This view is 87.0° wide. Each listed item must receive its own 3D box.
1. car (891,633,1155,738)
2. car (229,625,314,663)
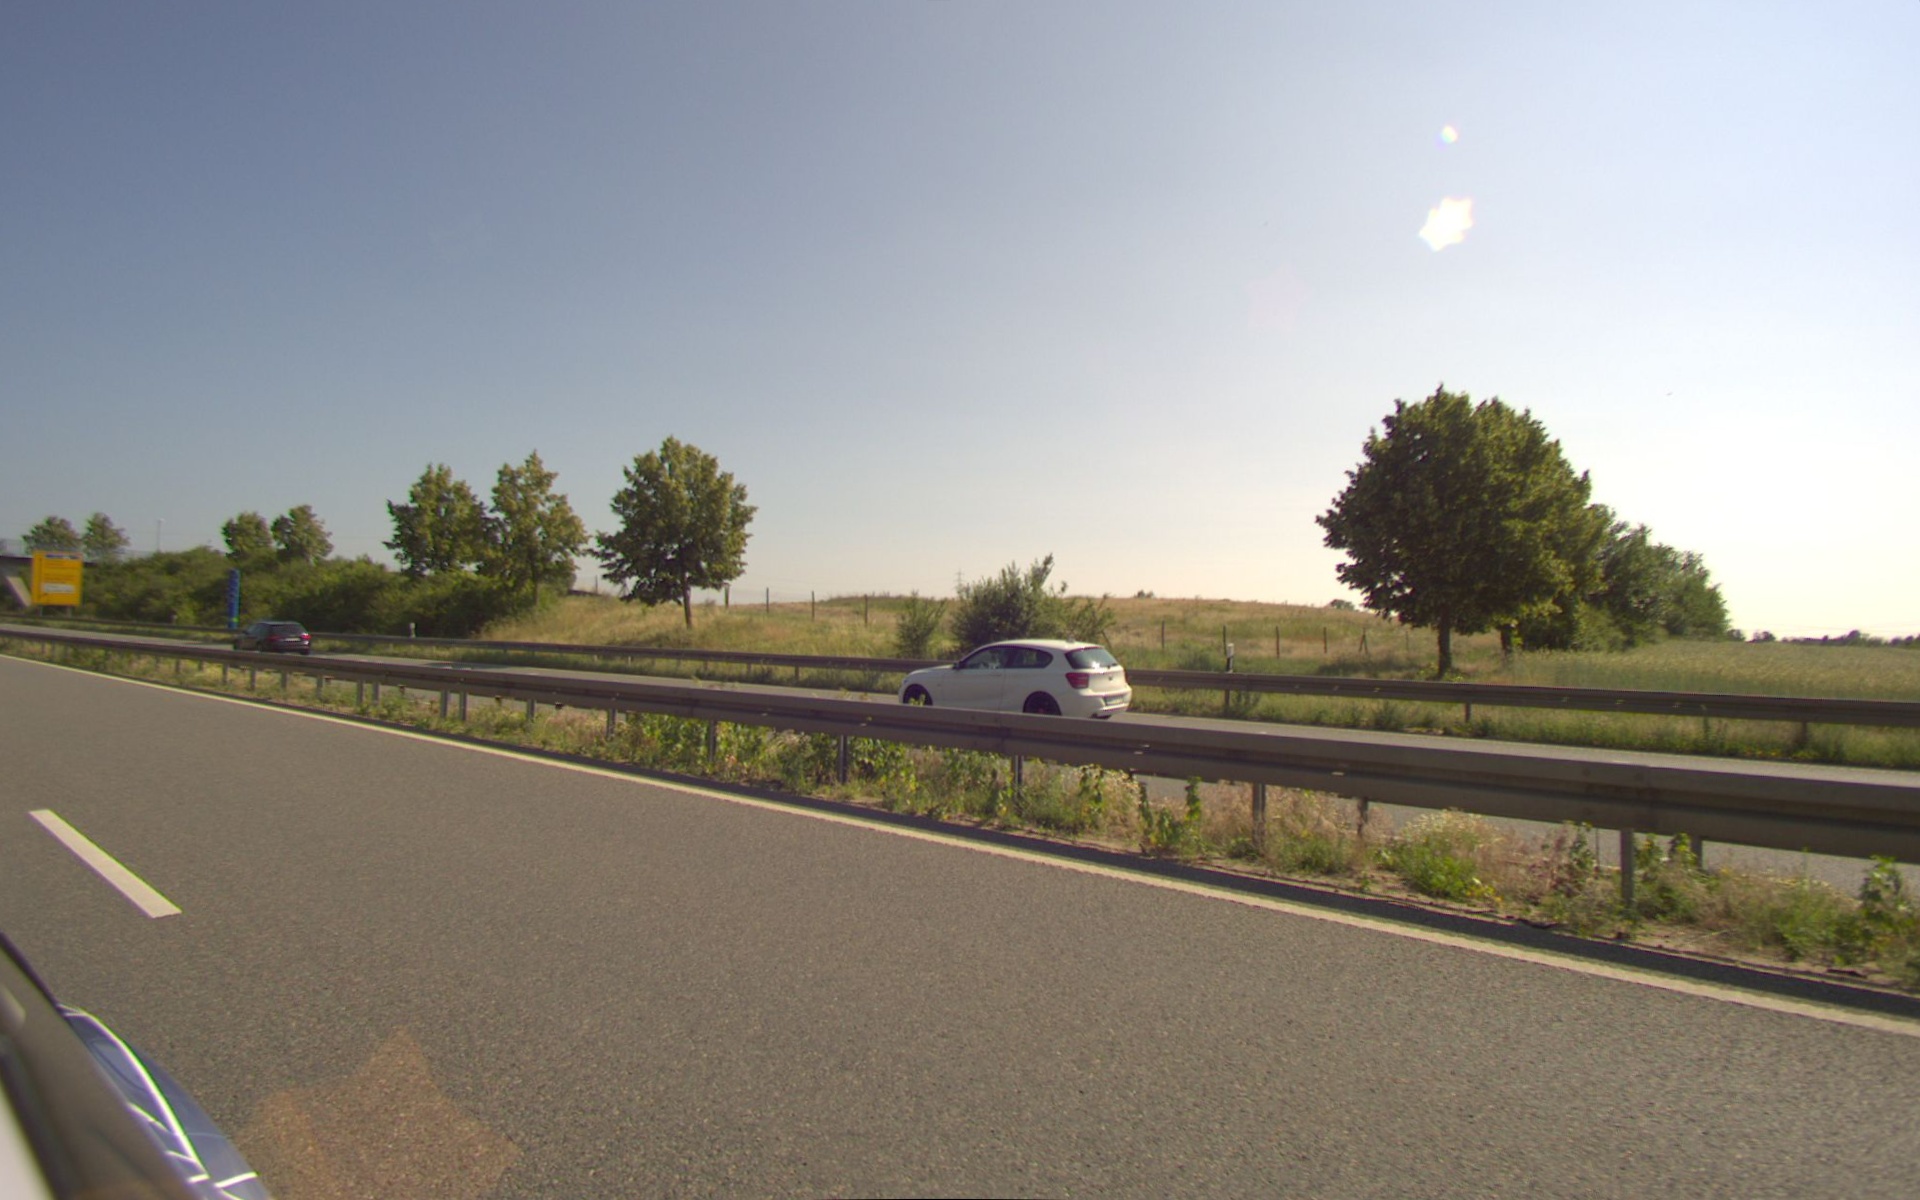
[{"bbox_3d":[0.951,1.332,17.014,4.346,1.443,1.651,-1,0,41],"label":"car"},{"bbox_3d":[-28.461,1.769,41.790,4.320,1.411,1.852,-1,0,41],"label":"car"}]
